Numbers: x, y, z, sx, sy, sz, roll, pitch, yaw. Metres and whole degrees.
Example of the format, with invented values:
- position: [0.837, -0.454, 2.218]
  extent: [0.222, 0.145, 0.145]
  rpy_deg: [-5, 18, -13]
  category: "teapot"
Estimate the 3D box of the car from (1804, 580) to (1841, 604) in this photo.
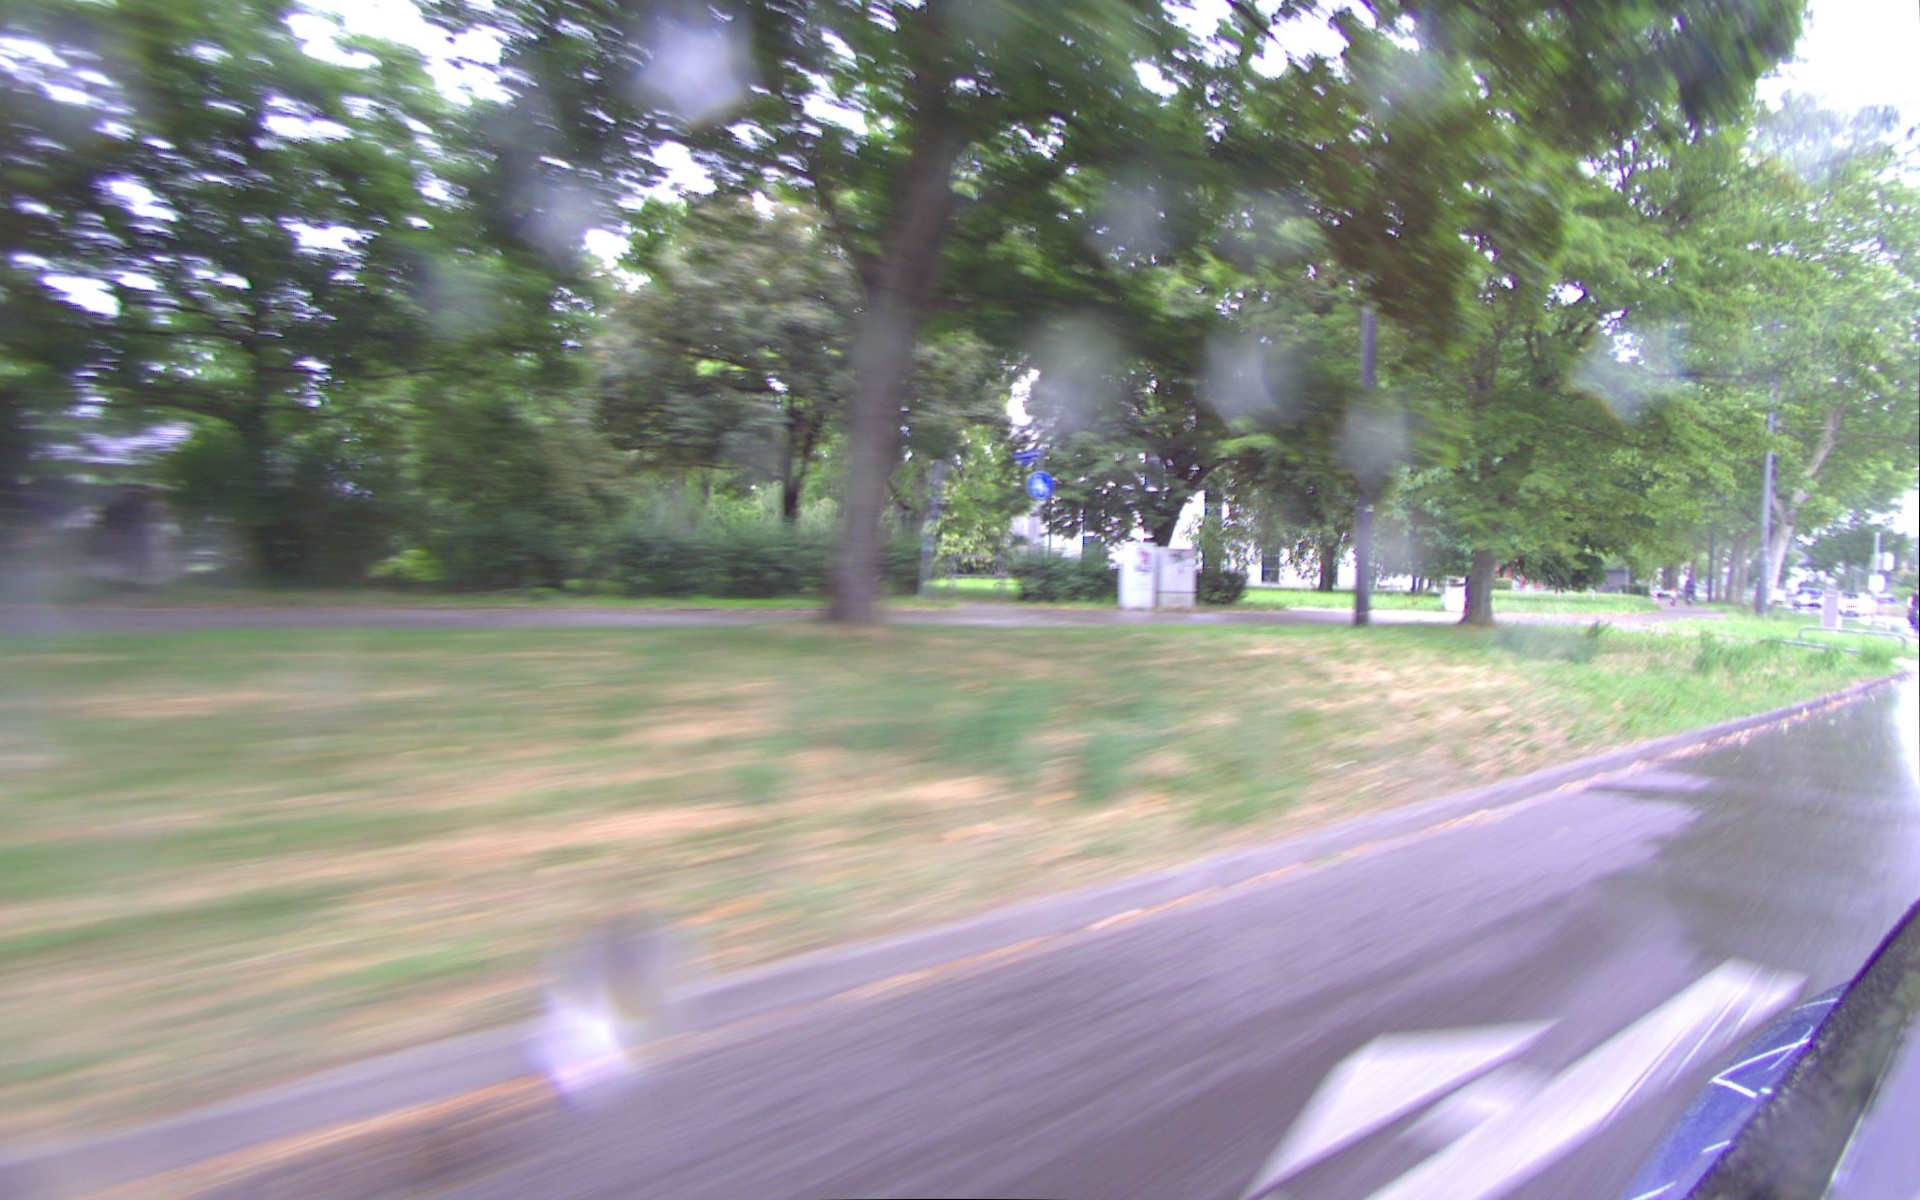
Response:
- position: [66.461, -0.645, 78.019]
  extent: [1.757, 1.746, 3.886]
  rpy_deg: [3, 3, 35]
  category: "car"

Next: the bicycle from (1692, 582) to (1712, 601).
- position: [47.127, -0.569, 64.273]
  extent: [1.940, 1.156, 0.712]
  rpy_deg: [-1, 3, -44]
  category: "bicycle"

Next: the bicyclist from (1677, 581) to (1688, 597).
- position: [46.312, -0.709, 64.862]
  extent: [0.582, 1.051, 0.487]
  rpy_deg: [0, 2, -44]
  category: "bicyclist"

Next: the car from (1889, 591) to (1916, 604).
- position: [113.395, -0.341, 121.814]
  extent: [1.748, 1.535, 3.808]
  rpy_deg: [-1, 0, 34]
  category: "car"

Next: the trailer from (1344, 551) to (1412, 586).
- position: [29.591, -2.237, 71.709]
  extent: [3.940, 2.337, 1.895]
  rpy_deg: [2, 2, -5]
  category: "trailer"

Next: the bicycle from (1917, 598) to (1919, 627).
- position: [34.981, 0.492, 36.291]
  extent: [0.656, 1.026, 2.227]
  rpy_deg: [3, 3, 37]
  category: "bicycle"

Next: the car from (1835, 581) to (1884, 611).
- position: [53.546, -0.272, 60.281]
  extent: [1.758, 1.746, 3.883]
  rpy_deg: [1, 2, 36]
  category: "car"

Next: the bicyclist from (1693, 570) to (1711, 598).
- position: [47.120, -1.004, 64.237]
  extent: [0.941, 1.742, 0.712]
  rpy_deg: [-1, 3, -44]
  category: "bicyclist"

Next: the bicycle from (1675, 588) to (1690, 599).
- position: [46.322, -0.416, 64.880]
  extent: [1.434, 0.717, 0.487]
  rpy_deg: [-1, 3, -44]
  category: "bicycle"

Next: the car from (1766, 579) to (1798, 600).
- position: [76.312, -1.003, 93.947]
  extent: [1.755, 1.746, 3.890]
  rpy_deg: [3, 3, 32]
  category: "car"
